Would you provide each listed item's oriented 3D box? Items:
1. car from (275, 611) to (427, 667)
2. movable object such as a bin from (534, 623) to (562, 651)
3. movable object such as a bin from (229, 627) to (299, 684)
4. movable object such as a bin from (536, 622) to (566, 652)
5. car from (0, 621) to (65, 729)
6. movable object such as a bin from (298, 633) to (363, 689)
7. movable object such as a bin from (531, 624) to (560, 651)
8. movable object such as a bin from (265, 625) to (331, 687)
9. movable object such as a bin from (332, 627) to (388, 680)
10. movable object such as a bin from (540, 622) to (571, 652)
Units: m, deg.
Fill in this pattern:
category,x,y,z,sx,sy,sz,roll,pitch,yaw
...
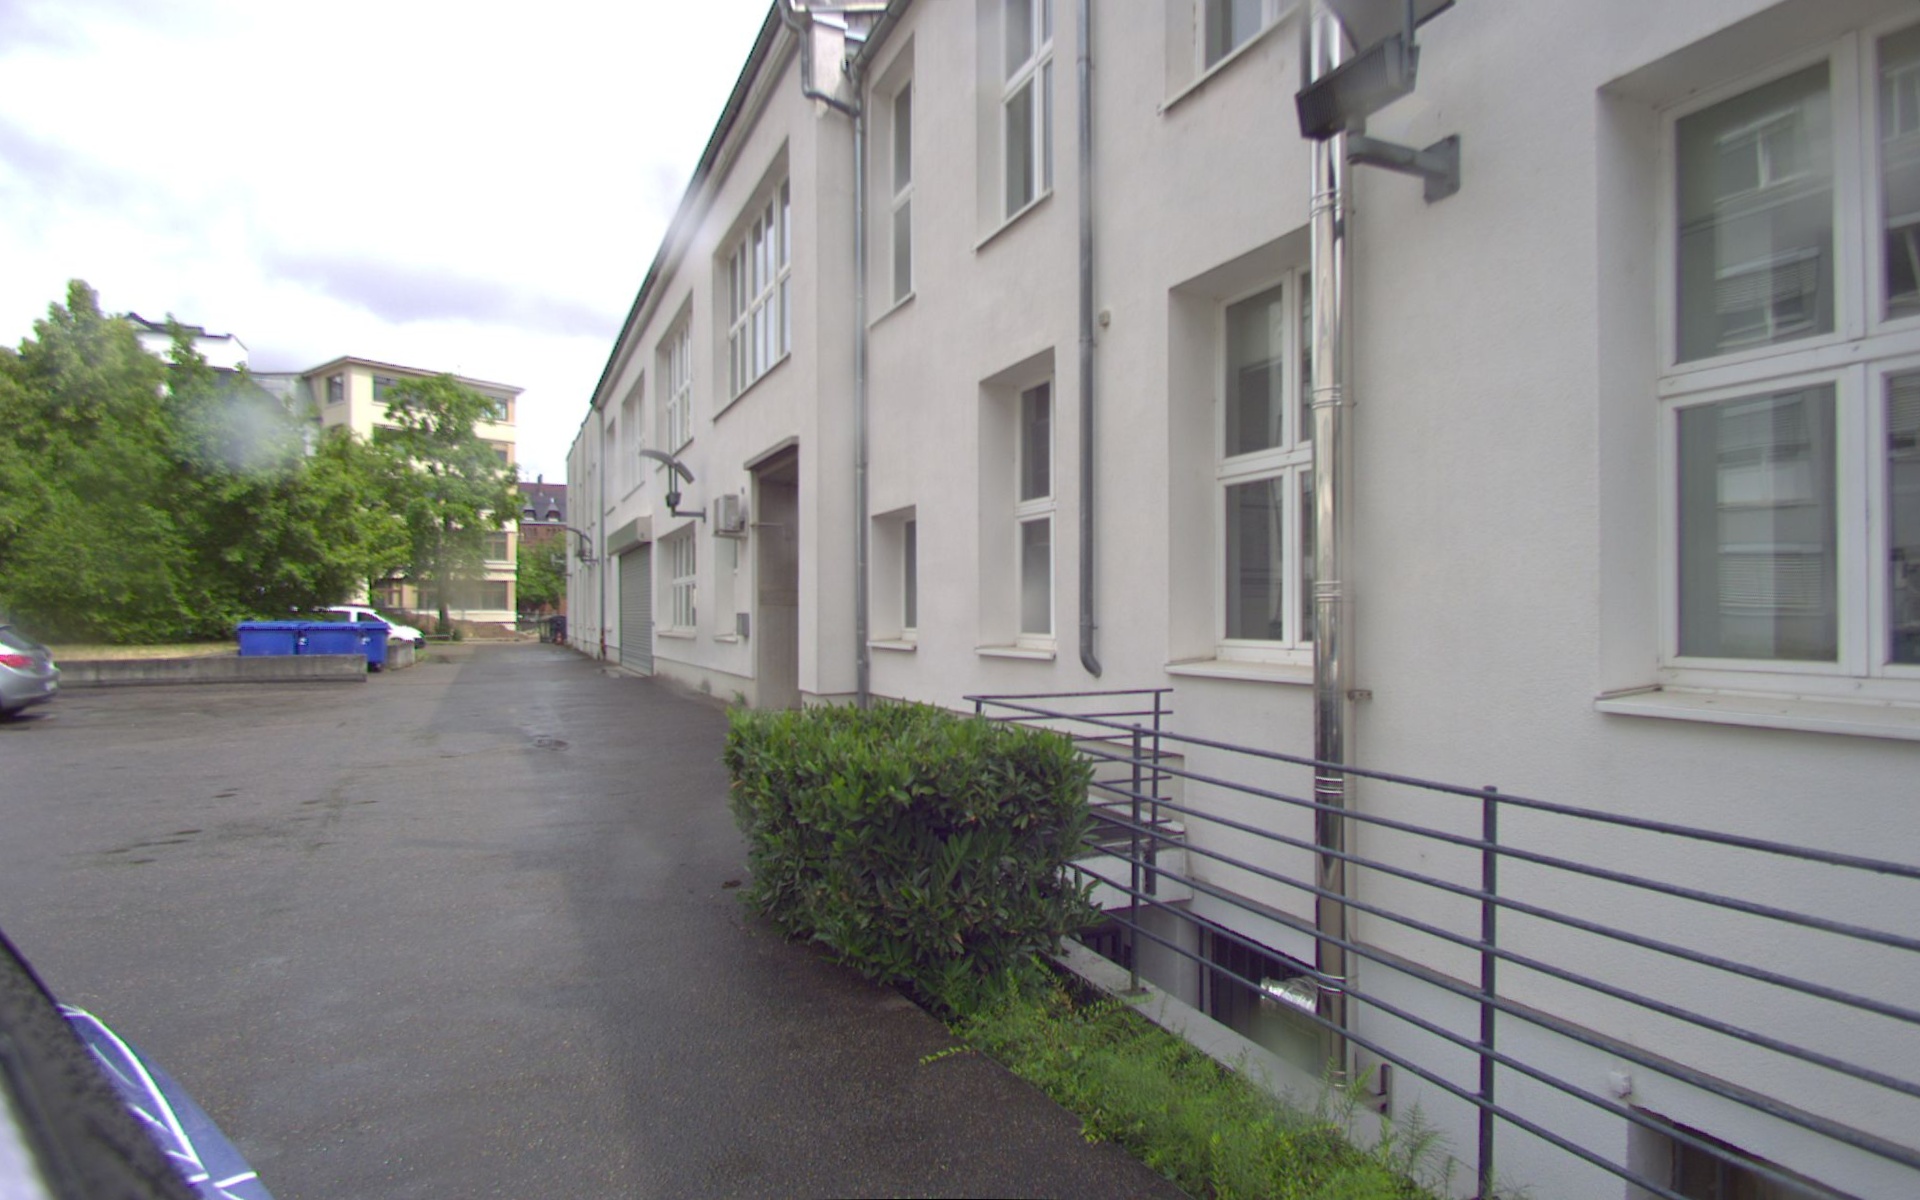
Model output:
category,x,y,z,sx,sy,sz,roll,pitch,yaw
car,-23.797,1.494,39.774,4.867,2.029,2.006,0,-1,-22
movable object such as a bin,-22.683,2.059,55.698,1.340,1.482,1.469,-1,-2,-26
movable object such as a bin,-16.578,1.312,24.143,1.212,1.327,1.059,1,-3,-26
movable object such as a bin,-21.482,1.948,53.105,1.340,1.482,1.370,-1,-2,-26
car,-15.130,1.013,13.848,4.022,1.469,1.673,1,-1,-29
movable object such as a bin,-15.344,1.476,24.693,1.212,1.327,1.059,1,-3,-26
movable object such as a bin,-23.391,2.122,57.134,1.389,1.482,1.566,-1,-2,-26
movable object such as a bin,-16.807,1.413,25.735,1.257,1.494,1.105,-1,-2,-26
movable object such as a bin,-15.729,1.389,26.578,1.158,1.327,1.059,-1,-2,-26
movable object such as a bin,-20.620,1.878,51.604,1.340,1.482,1.370,-1,-2,-26
